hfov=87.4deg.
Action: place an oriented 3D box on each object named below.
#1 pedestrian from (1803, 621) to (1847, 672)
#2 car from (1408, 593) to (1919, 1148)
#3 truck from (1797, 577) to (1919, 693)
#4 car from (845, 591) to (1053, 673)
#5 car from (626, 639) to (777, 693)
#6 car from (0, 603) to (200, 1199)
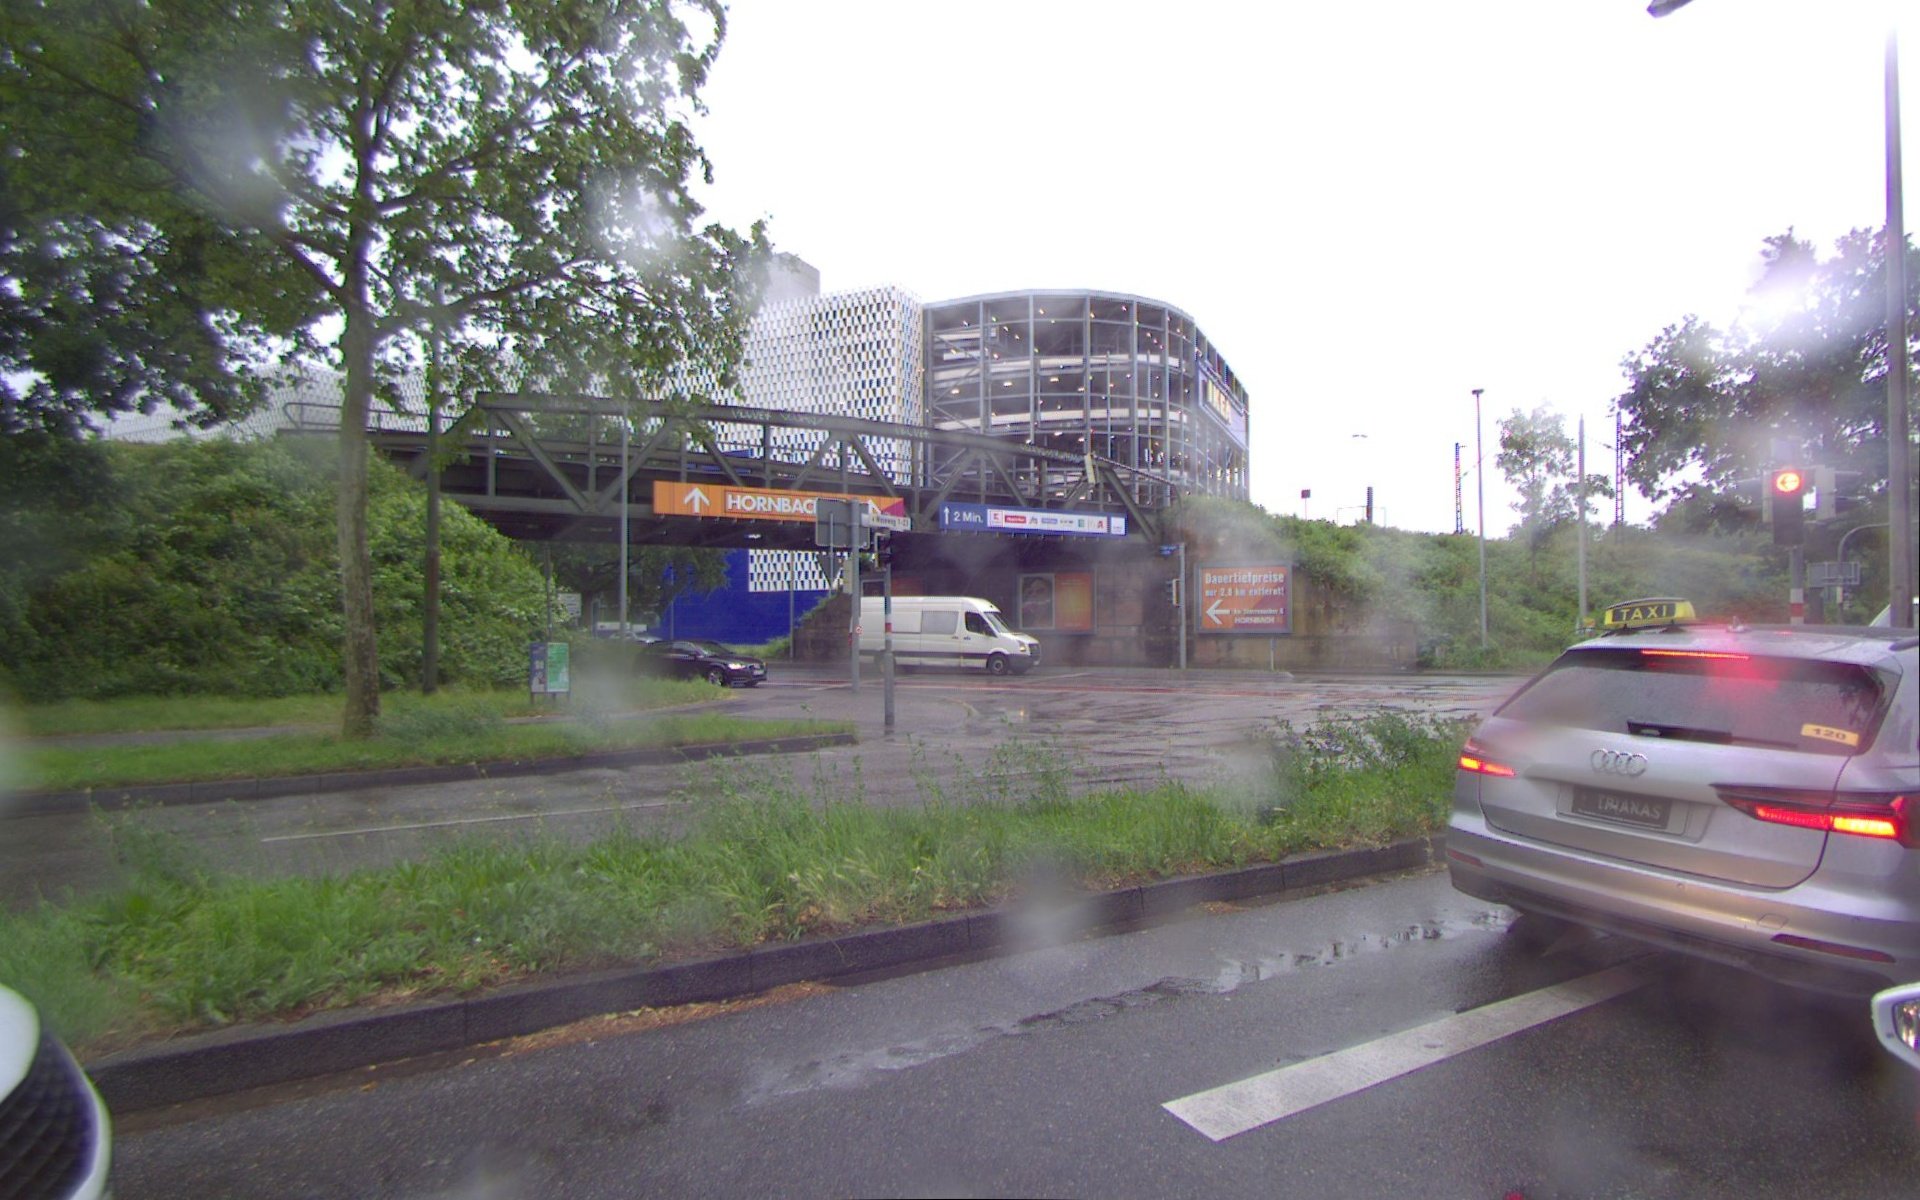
[{"bbox_3d":[32.385,1.737,37.597,1.122,1.871,1.092,2,-2,-41],"label":"pedestrian"},{"bbox_3d":[4.423,0.812,4.816,4.766,1.595,1.760,1,0,-31],"label":"car"},{"bbox_3d":[22.816,0.787,22.269,6.736,2.396,2.481,0,-2,-5],"label":"truck"},{"bbox_3d":[-0.412,1.113,34.786,6.847,2.645,2.386,-1,-2,25],"label":"car"},{"bbox_3d":[-7.560,1.897,29.368,4.067,1.453,1.693,-1,-1,23],"label":"car"},{"bbox_3d":[-3.116,0.690,0.689,3.966,1.395,1.669,1,0,-32],"label":"car"}]
